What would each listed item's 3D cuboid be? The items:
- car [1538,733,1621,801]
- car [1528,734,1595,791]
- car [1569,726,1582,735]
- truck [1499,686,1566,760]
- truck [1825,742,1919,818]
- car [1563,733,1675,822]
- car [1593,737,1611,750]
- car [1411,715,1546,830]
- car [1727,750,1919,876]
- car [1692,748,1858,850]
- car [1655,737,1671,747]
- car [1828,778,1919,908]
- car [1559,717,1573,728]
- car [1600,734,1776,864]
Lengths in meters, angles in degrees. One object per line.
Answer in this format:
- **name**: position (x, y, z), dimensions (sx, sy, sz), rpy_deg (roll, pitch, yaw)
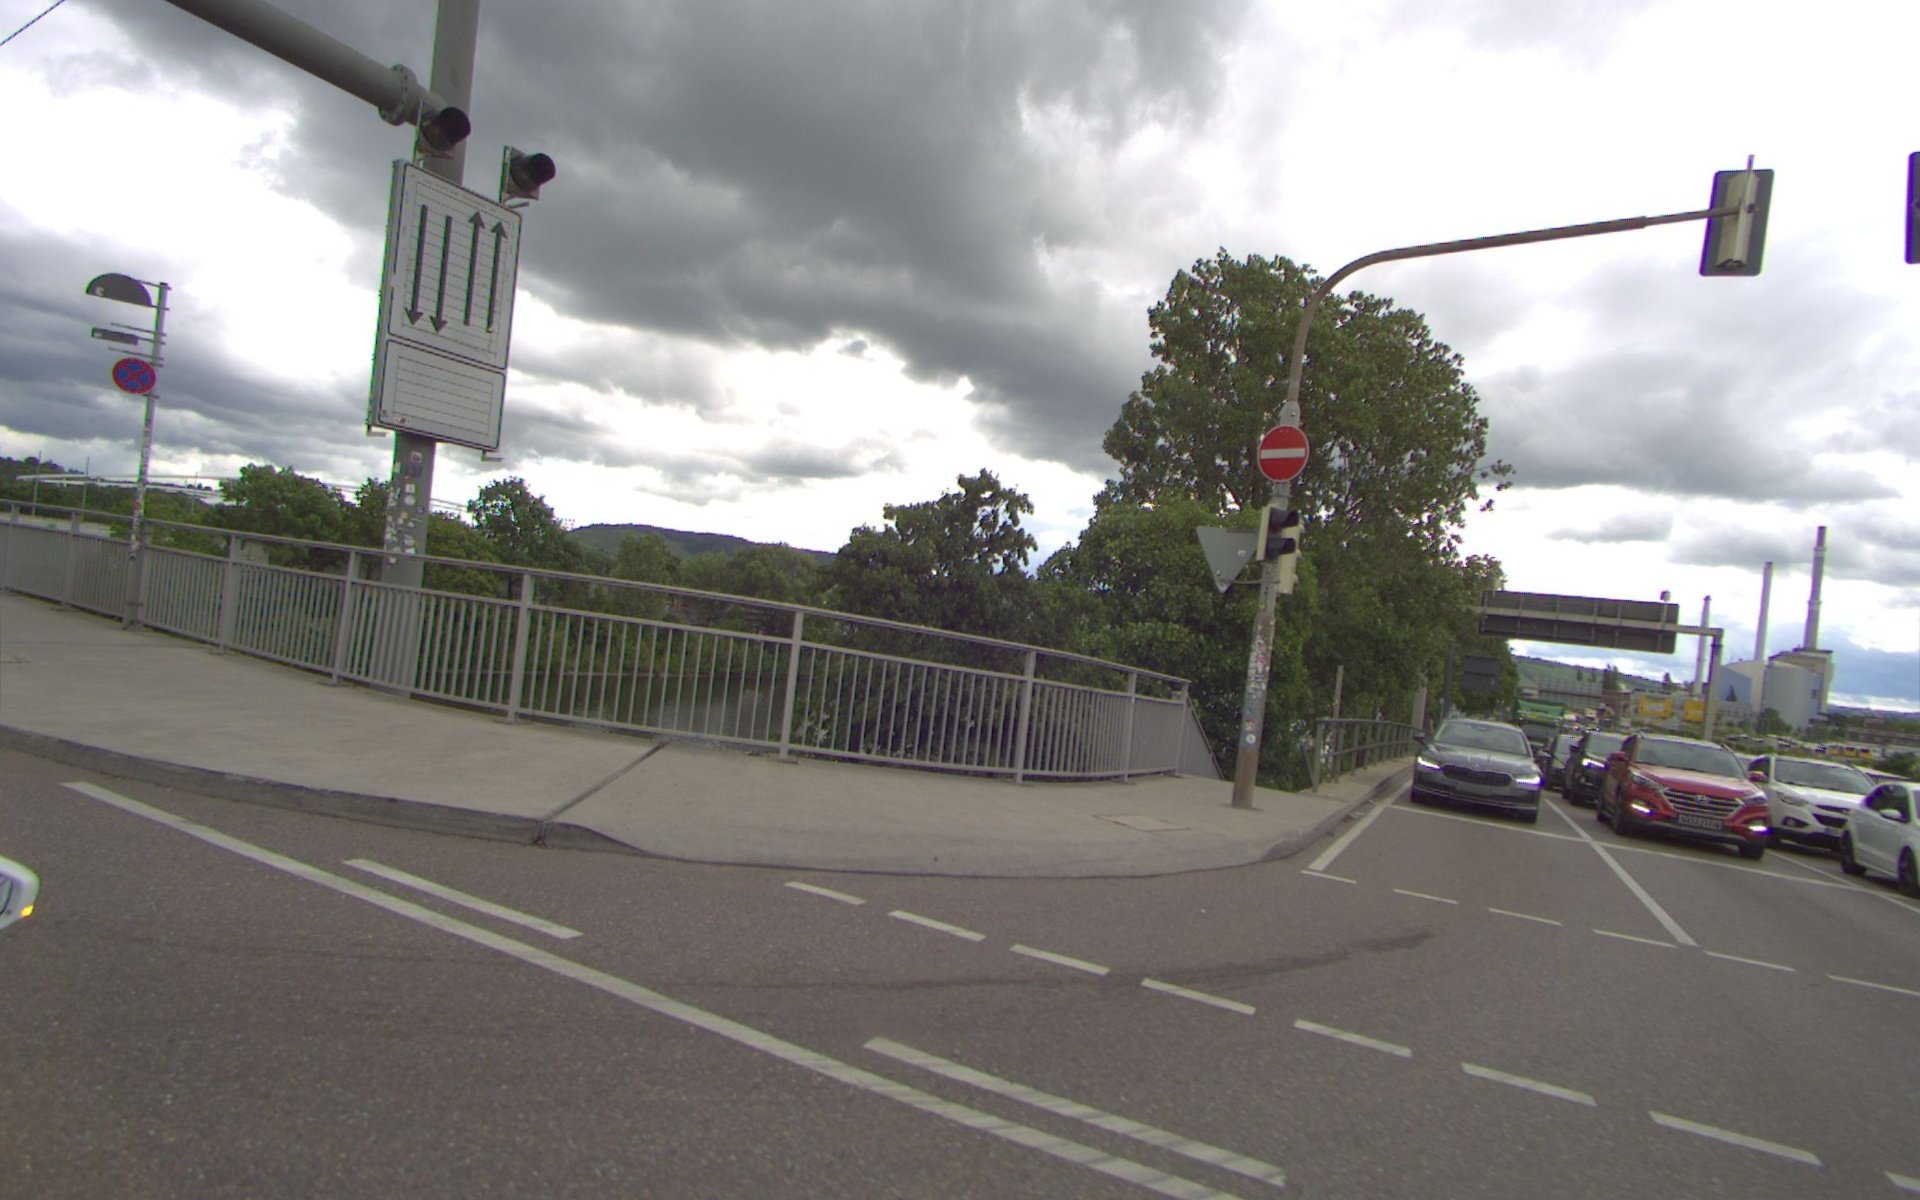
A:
- **car**: position (17.571, 4.687, 28.672), dimensions (1.667, 1.556, 3.759), rpy_deg (6, -3, 29)
- **car**: position (20.418, 5.463, 34.253), dimensions (1.667, 1.556, 3.759), rpy_deg (6, -3, 29)
- **car**: position (130.915, 27.740, 214.093), dimensions (1.966, 1.725, 4.078), rpy_deg (5, -4, 29)
- **truck**: position (32.874, 6.946, 57.778), dimensions (2.735, 3.551, 9.245), rpy_deg (7, -1, 30)
- **truck**: position (80.239, 15.583, 88.300), dimensions (3.527, 4.545, 13.149), rpy_deg (7, 1, 29)
- **car**: position (14.540, 3.858, 22.362), dimensions (1.667, 1.556, 3.623), rpy_deg (6, -3, 29)
- **car**: position (102.079, 22.859, 160.021), dimensions (1.966, 1.725, 4.078), rpy_deg (5, -4, 29)
- **car**: position (8.610, 2.773, 16.717), dimensions (1.667, 1.436, 4.153), rpy_deg (5, -4, 28)
- **car**: position (15.433, 3.686, 18.070), dimensions (1.967, 1.637, 4.340), rpy_deg (5, -4, 30)
- **car**: position (17.877, 4.279, 22.328), dimensions (1.966, 1.637, 4.961), rpy_deg (5, -4, 30)
- **car**: position (148.867, 30.093, 213.009), dimensions (1.965, 1.755, 3.998), rpy_deg (5, -3, 26)
- **car**: position (12.688, 3.136, 12.714), dimensions (1.760, 1.327, 3.764), rpy_deg (5, -4, 29)
- **car**: position (111.878, 22.656, 185.765), dimensions (1.966, 1.725, 4.078), rpy_deg (5, -4, 29)
- **car**: position (11.416, 3.034, 16.030), dimensions (1.667, 1.556, 4.007), rpy_deg (5, -4, 29)
